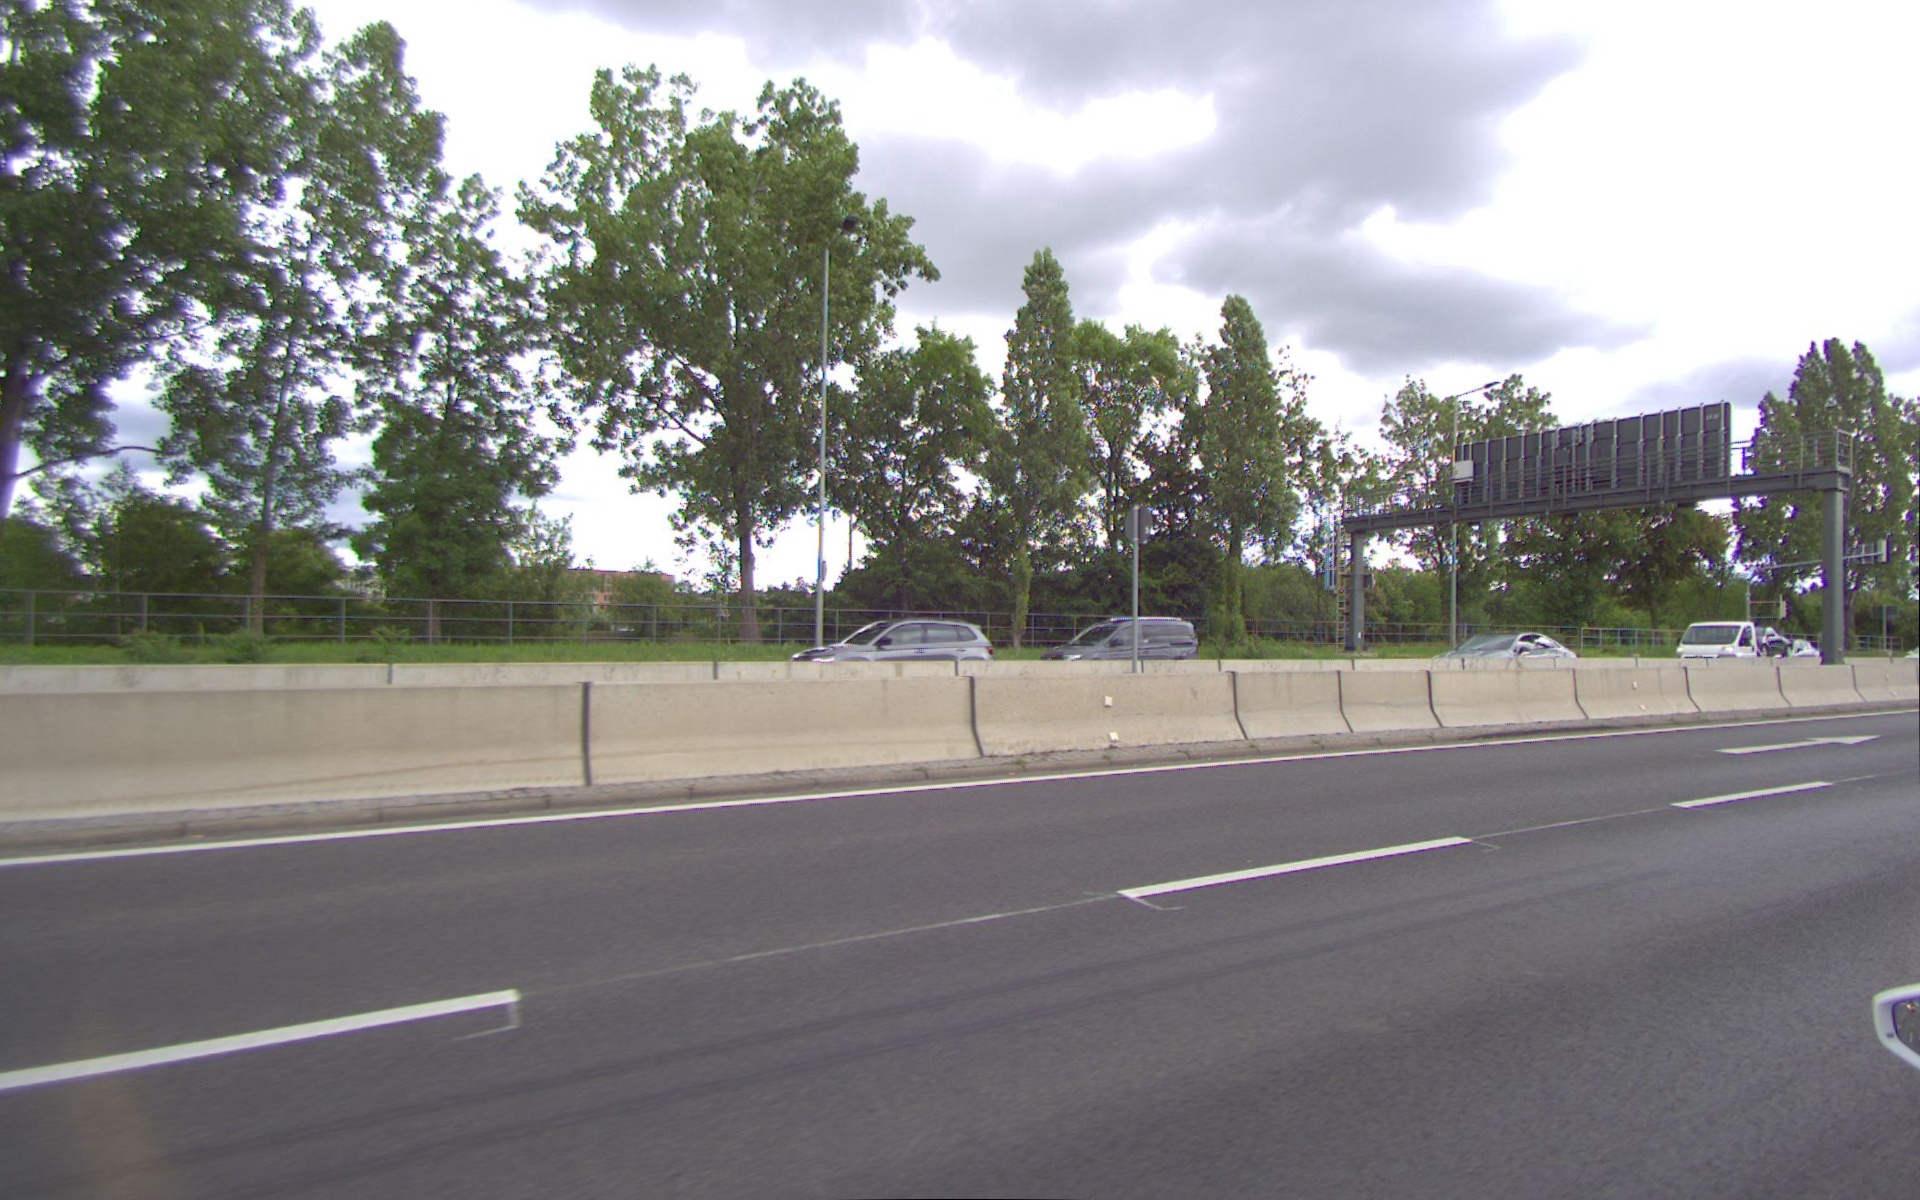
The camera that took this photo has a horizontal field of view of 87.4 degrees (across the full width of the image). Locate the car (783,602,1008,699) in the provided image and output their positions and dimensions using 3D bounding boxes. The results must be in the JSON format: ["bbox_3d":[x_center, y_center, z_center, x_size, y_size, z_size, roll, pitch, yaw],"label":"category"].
[{"bbox_3d":[-1.257,0.971,20.087,4.078,1.705,1.868,2,1,-31],"label":"car"}]

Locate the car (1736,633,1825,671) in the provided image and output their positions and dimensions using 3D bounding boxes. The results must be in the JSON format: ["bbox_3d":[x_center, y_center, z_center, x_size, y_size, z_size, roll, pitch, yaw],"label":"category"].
[{"bbox_3d":[39.773,2.497,48.663,4.361,1.707,1.983,2,1,-31],"label":"car"}]

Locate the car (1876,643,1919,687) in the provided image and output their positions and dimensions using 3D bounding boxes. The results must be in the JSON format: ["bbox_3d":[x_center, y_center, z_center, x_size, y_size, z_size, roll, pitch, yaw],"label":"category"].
[{"bbox_3d":[40.826,2.722,42.338,4.641,1.691,1.983,2,1,-31],"label":"car"}]

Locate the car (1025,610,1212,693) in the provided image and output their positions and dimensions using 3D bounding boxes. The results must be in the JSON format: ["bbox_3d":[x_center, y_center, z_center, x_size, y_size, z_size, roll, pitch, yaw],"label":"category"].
[{"bbox_3d":[4.379,1.360,27.508,4.879,2.040,1.983,2,1,-31],"label":"car"}]

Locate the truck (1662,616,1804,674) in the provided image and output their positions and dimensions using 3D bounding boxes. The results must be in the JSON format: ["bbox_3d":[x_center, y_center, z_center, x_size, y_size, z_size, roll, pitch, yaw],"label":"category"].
[{"bbox_3d":[30.074,1.733,39.013,6.229,2.040,2.193,2,1,-31],"label":"truck"}]

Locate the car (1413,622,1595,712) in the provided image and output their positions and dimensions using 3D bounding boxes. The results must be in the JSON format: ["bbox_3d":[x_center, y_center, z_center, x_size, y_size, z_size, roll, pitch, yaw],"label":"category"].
[{"bbox_3d":[13.928,1.648,25.663,4.627,2.040,1.983,2,1,-31],"label":"car"}]
